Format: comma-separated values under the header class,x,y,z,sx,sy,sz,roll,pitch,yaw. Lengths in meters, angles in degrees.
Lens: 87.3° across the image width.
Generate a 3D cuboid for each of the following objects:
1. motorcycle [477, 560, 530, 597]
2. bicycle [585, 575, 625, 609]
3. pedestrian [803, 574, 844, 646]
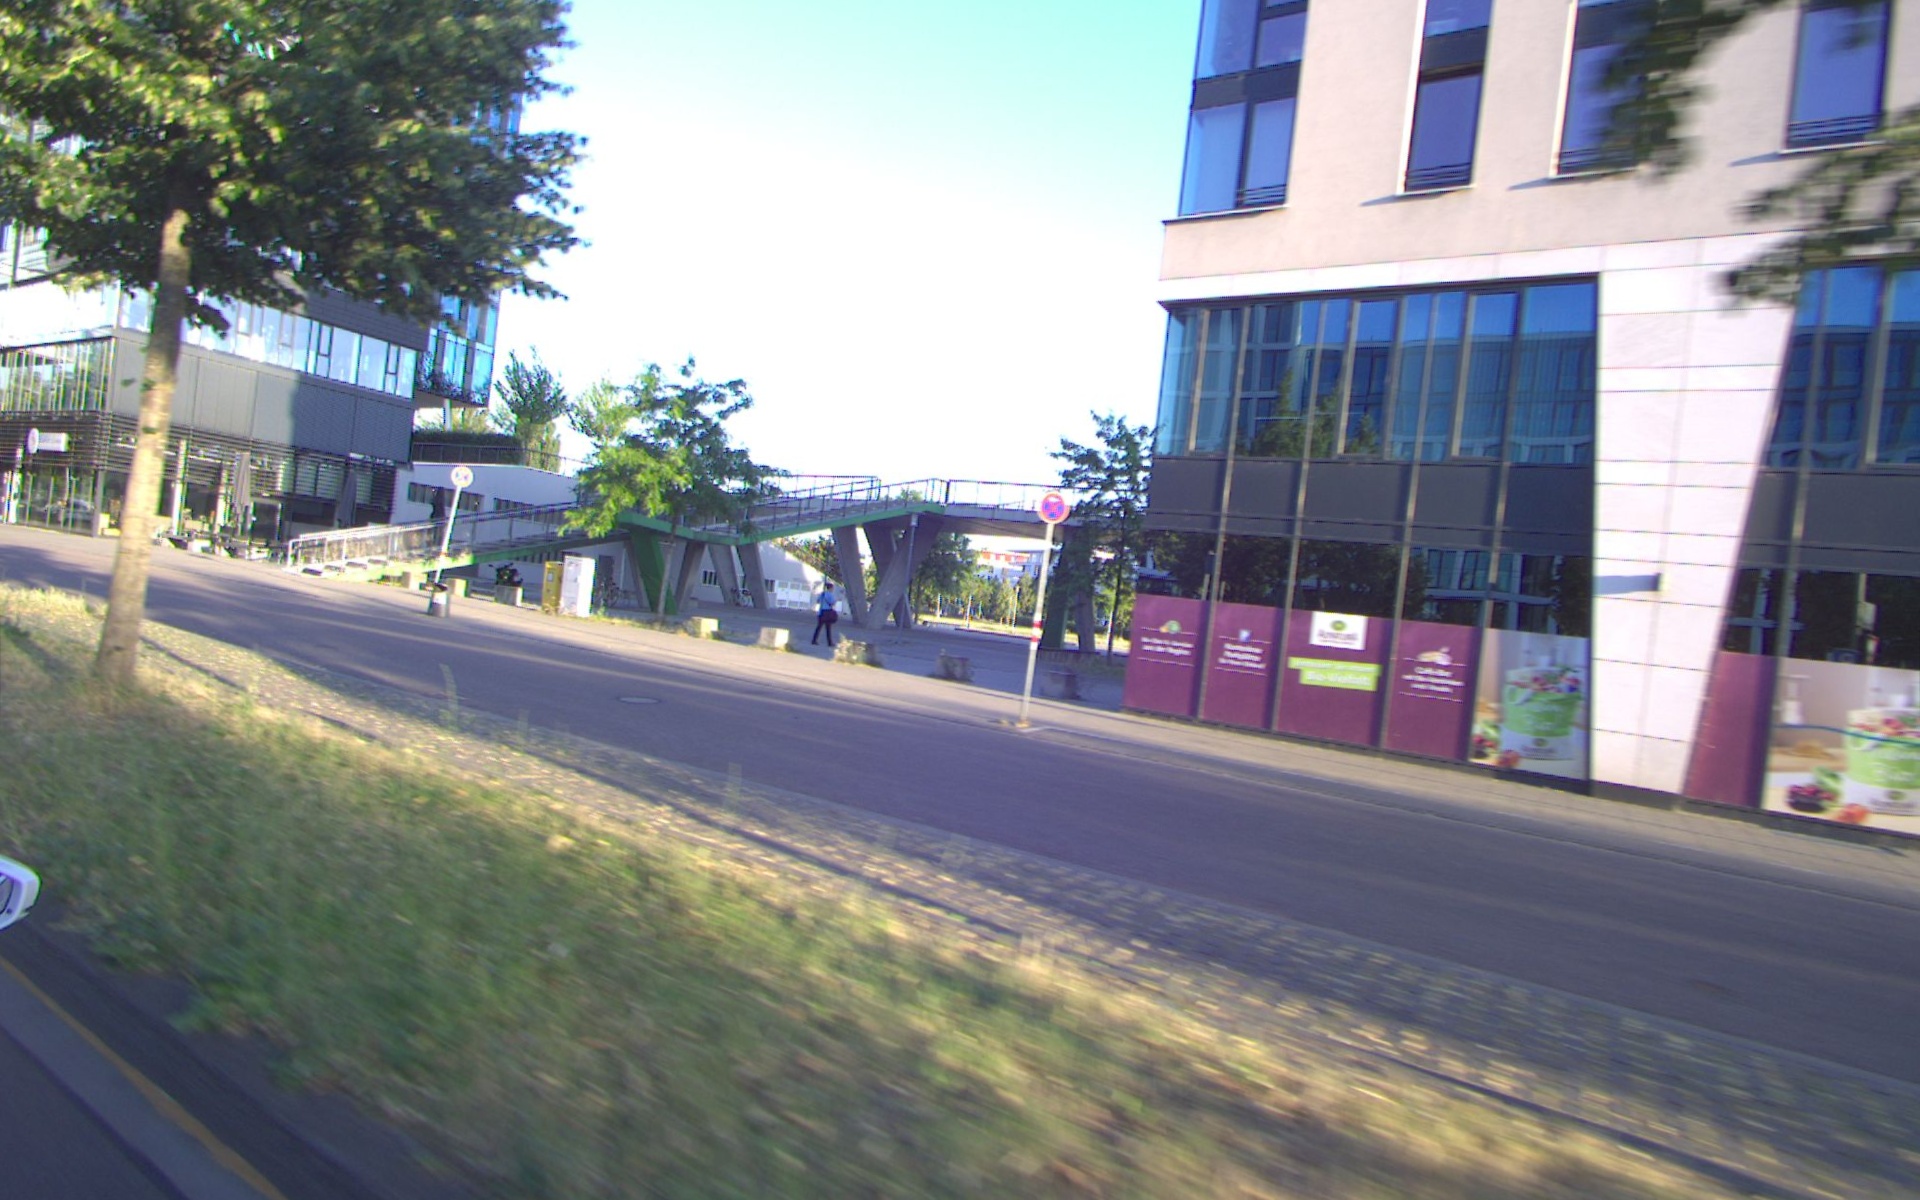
class,x,y,z,sx,sy,sz,roll,pitch,yaw
motorcycle,-16.347,-0.777,35.996,2.297,1.107,0.650,7,0,38
bicycle,-13.382,-0.312,37.868,1.743,1.065,0.567,7,0,42
pedestrian,-4.098,0.300,30.182,0.916,2.038,0.889,7,0,-15
